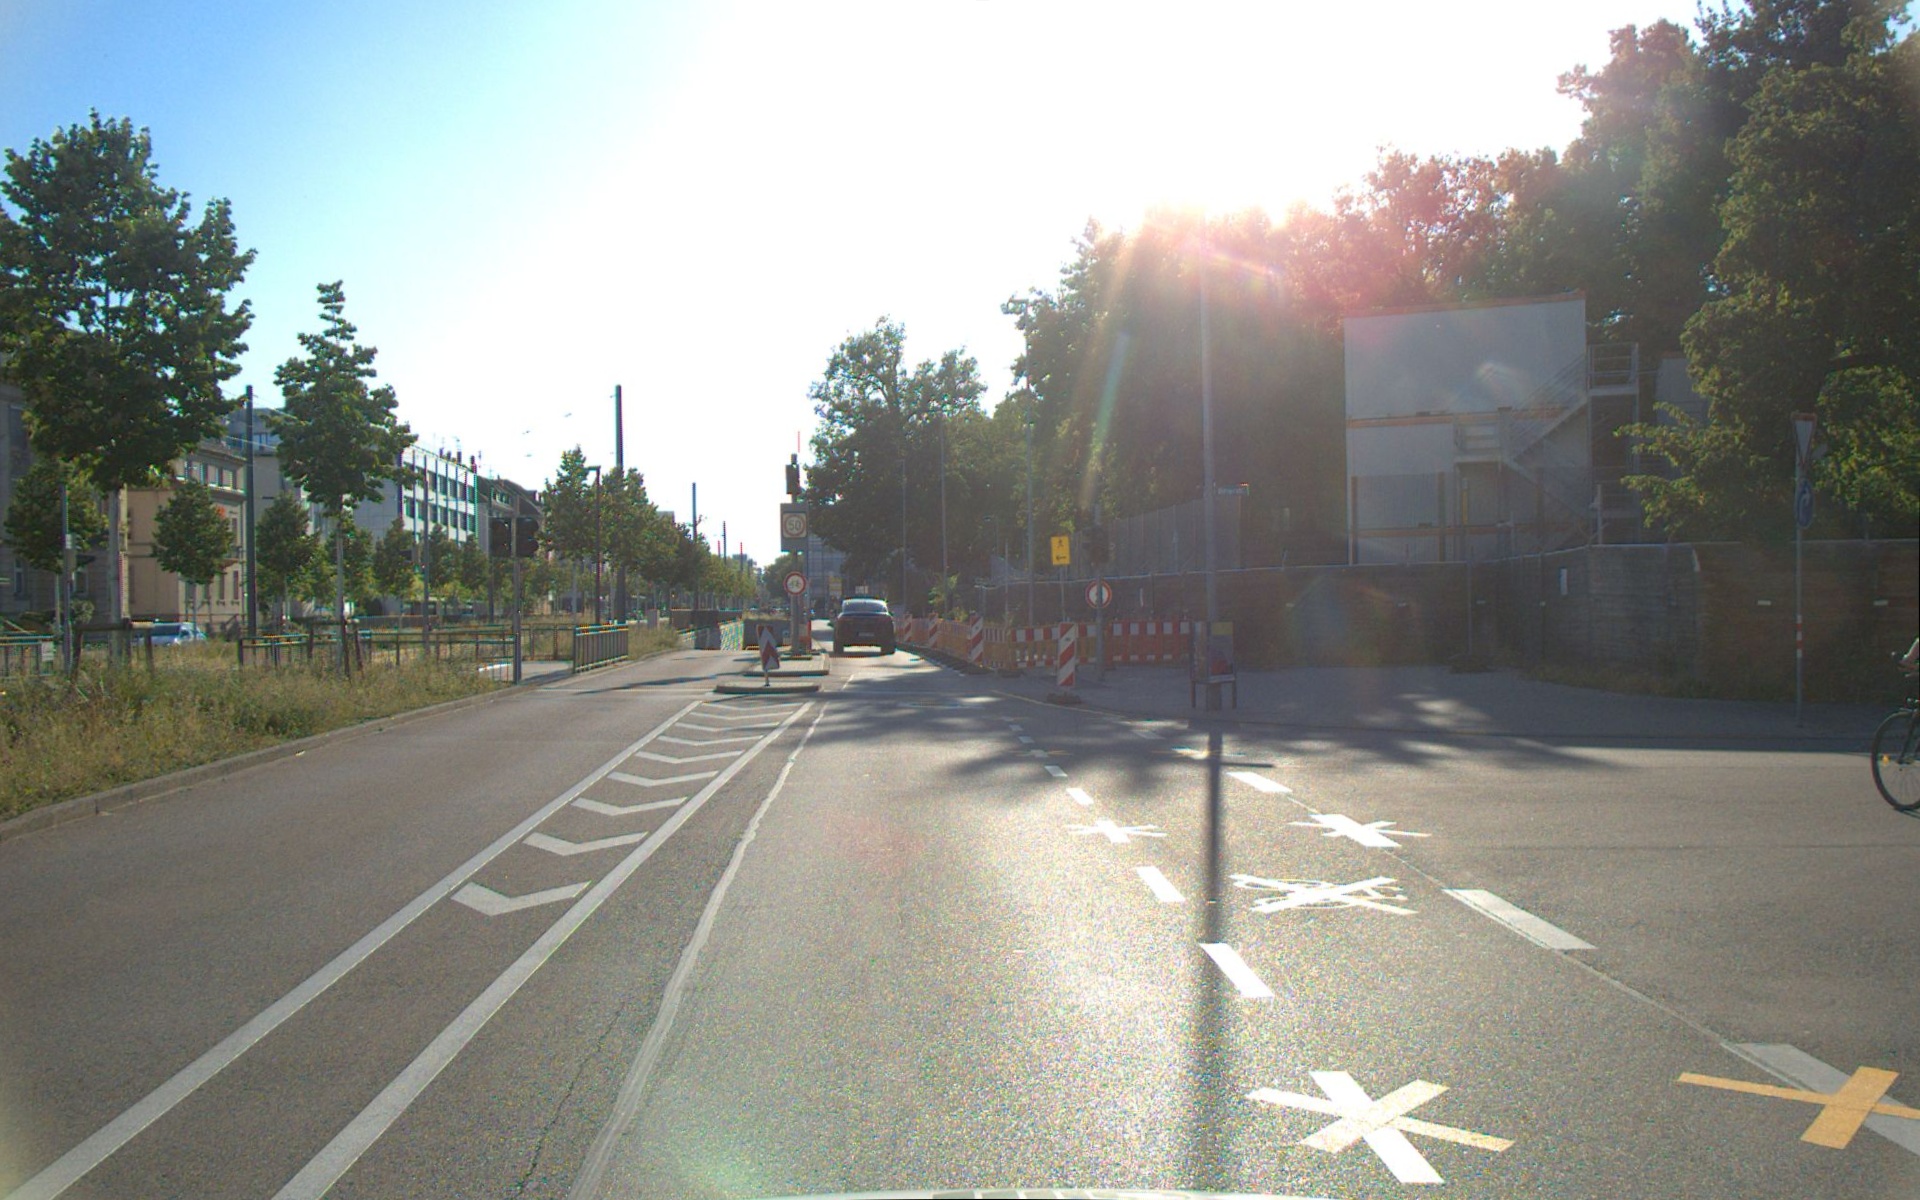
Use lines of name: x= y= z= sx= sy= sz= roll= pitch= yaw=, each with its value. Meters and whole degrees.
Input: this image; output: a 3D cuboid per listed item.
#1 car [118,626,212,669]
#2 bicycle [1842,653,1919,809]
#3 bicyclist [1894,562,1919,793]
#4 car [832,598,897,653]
car: x=-30.133 y=1.769 z=62.813 sx=1.742 sy=1.489 sz=4.656 roll=-1 pitch=0 yaw=-6
bicycle: x=7.047 y=0.944 z=11.730 sx=0.419 sy=1.080 sz=1.909 roll=-1 pitch=-1 yaw=-5
bicyclist: x=7.097 y=0.544 z=11.538 sx=0.572 sy=1.643 sz=0.902 roll=-1 pitch=-1 yaw=-6
car: x=-3.154 y=0.832 z=54.143 sx=1.966 sy=1.688 sz=3.995 roll=1 pitch=-1 yaw=-5
